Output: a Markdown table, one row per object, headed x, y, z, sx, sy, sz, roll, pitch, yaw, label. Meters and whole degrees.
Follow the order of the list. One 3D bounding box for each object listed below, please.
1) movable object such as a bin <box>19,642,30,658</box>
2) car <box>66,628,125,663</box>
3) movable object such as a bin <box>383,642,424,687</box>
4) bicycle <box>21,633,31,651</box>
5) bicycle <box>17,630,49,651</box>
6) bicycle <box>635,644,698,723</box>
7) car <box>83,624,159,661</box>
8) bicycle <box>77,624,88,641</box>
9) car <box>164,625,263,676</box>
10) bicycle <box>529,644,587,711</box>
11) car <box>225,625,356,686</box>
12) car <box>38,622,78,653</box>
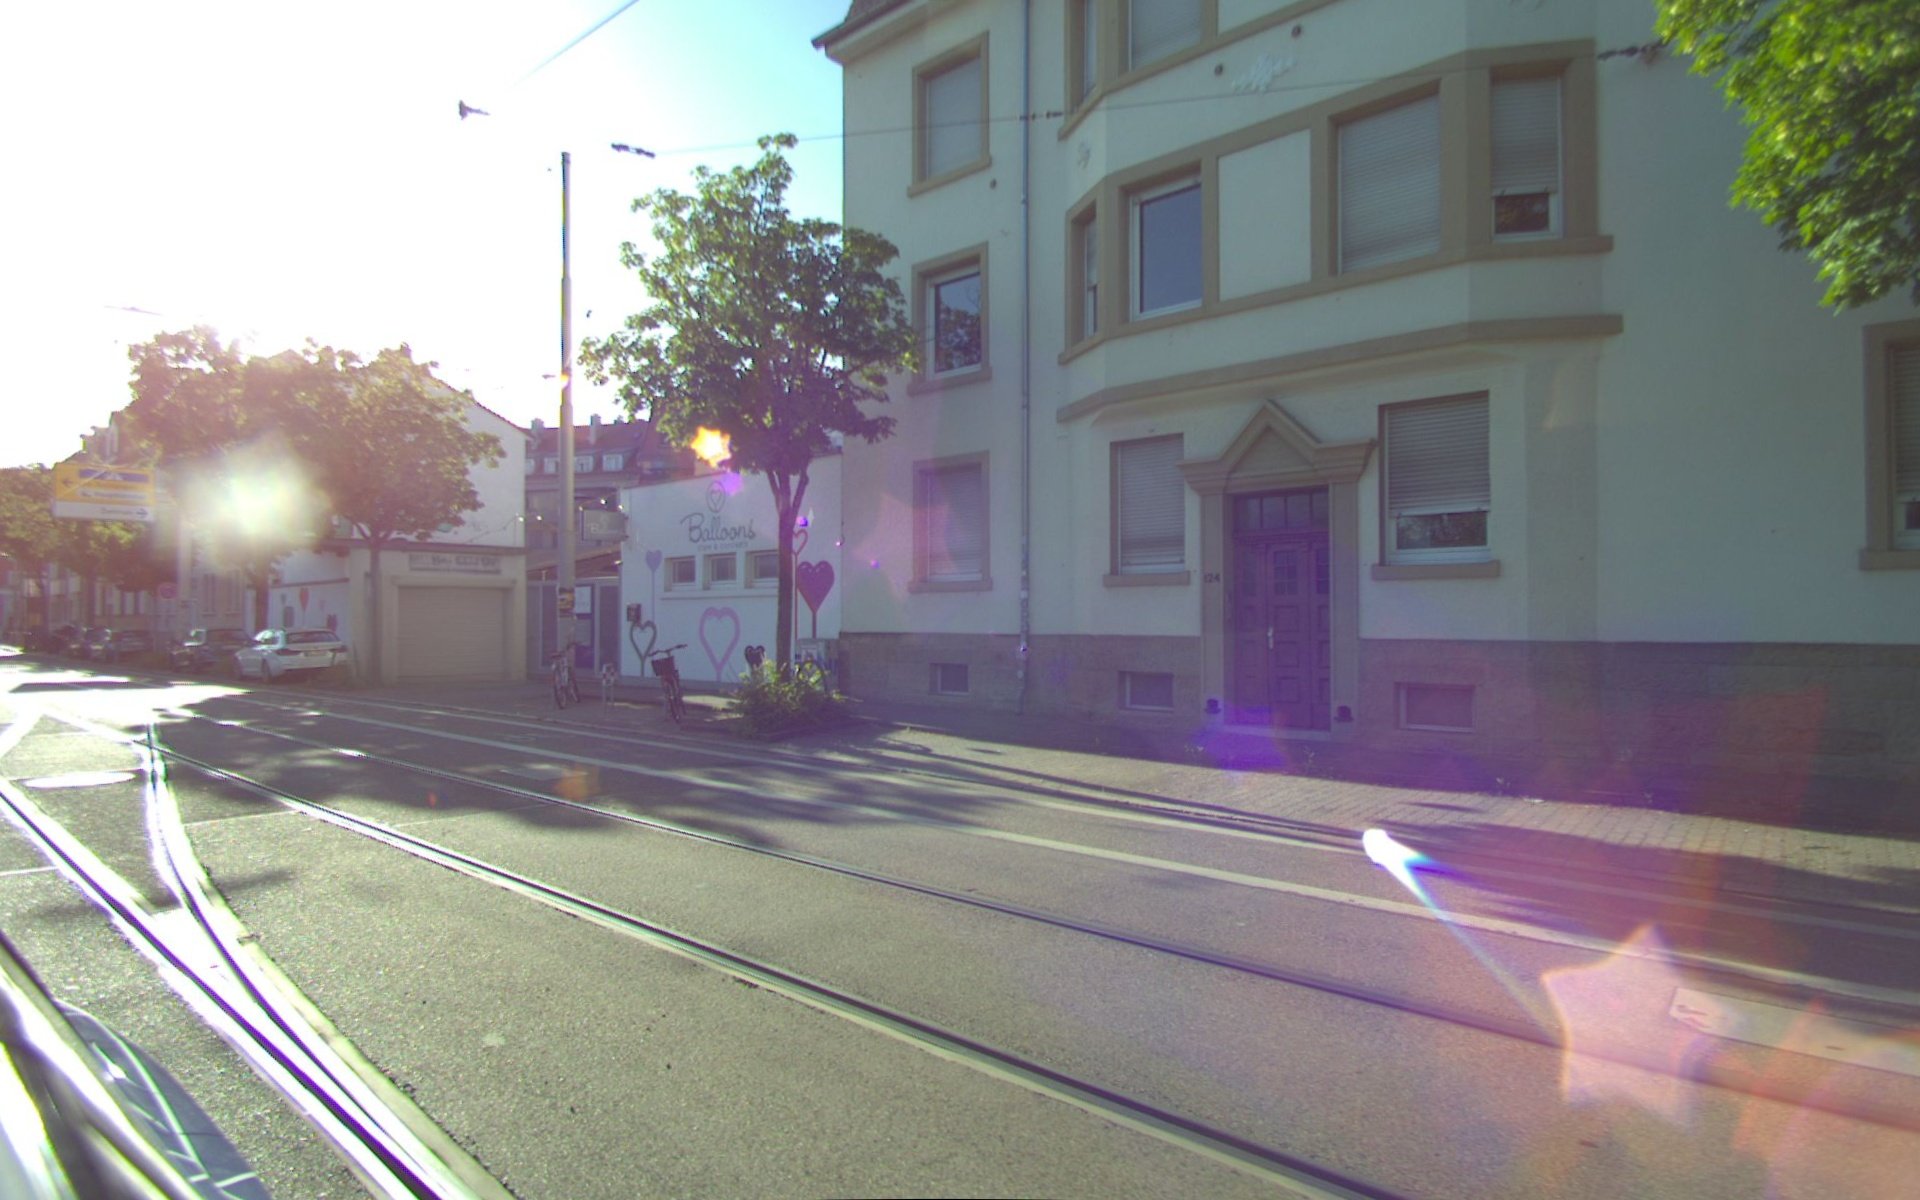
| x | y | z | sx | sy | sz | roll | pitch | yaw | label |
| --- | --- | --- | --- | --- | --- | --- | --- | --- | --- |
| -56.799 | 3.020 | 61.437 | 0.582 | 0.942 | 0.420 | -1 | -1 | 42 | movable object such as a bin |
| -40.284 | 2.087 | 47.155 | 3.998 | 1.516 | 1.555 | -1 | -1 | 42 | car |
| -12.969 | 1.487 | 23.601 | 0.702 | 0.966 | 0.576 | -1 | 3 | 41 | movable object such as a bin |
| -55.933 | 2.529 | 60.595 | 1.661 | 1.050 | 0.299 | -1 | -1 | 42 | bicycle |
| -54.233 | 2.363 | 59.213 | 0.409 | 1.178 | 1.326 | -1 | -1 | 41 | bicycle |
| -4.446 | 1.240 | 15.433 | 0.524 | 1.048 | 1.989 | -1 | 0 | -5 | bicycle |
| -35.814 | 1.782 | 43.174 | 4.291 | 1.440 | 1.854 | -1 | -1 | 42 | car |
| -55.139 | 2.018 | 63.611 | 1.661 | 1.050 | 0.299 | -1 | -1 | 42 | bicycle |
| -24.527 | 1.600 | 33.189 | 4.303 | 1.497 | 1.754 | -1 | -1 | 41 | car |
| -7.118 | 1.352 | 17.988 | 0.658 | 1.048 | 1.791 | -1 | 0 | -11 | bicycle |
| -18.571 | 1.455 | 27.982 | 4.659 | 1.502 | 1.845 | -1 | -1 | 41 | car |
| -48.722 | 2.022 | 54.665 | 2.546 | 1.514 | 1.341 | -5 | -3 | 41 | car |
